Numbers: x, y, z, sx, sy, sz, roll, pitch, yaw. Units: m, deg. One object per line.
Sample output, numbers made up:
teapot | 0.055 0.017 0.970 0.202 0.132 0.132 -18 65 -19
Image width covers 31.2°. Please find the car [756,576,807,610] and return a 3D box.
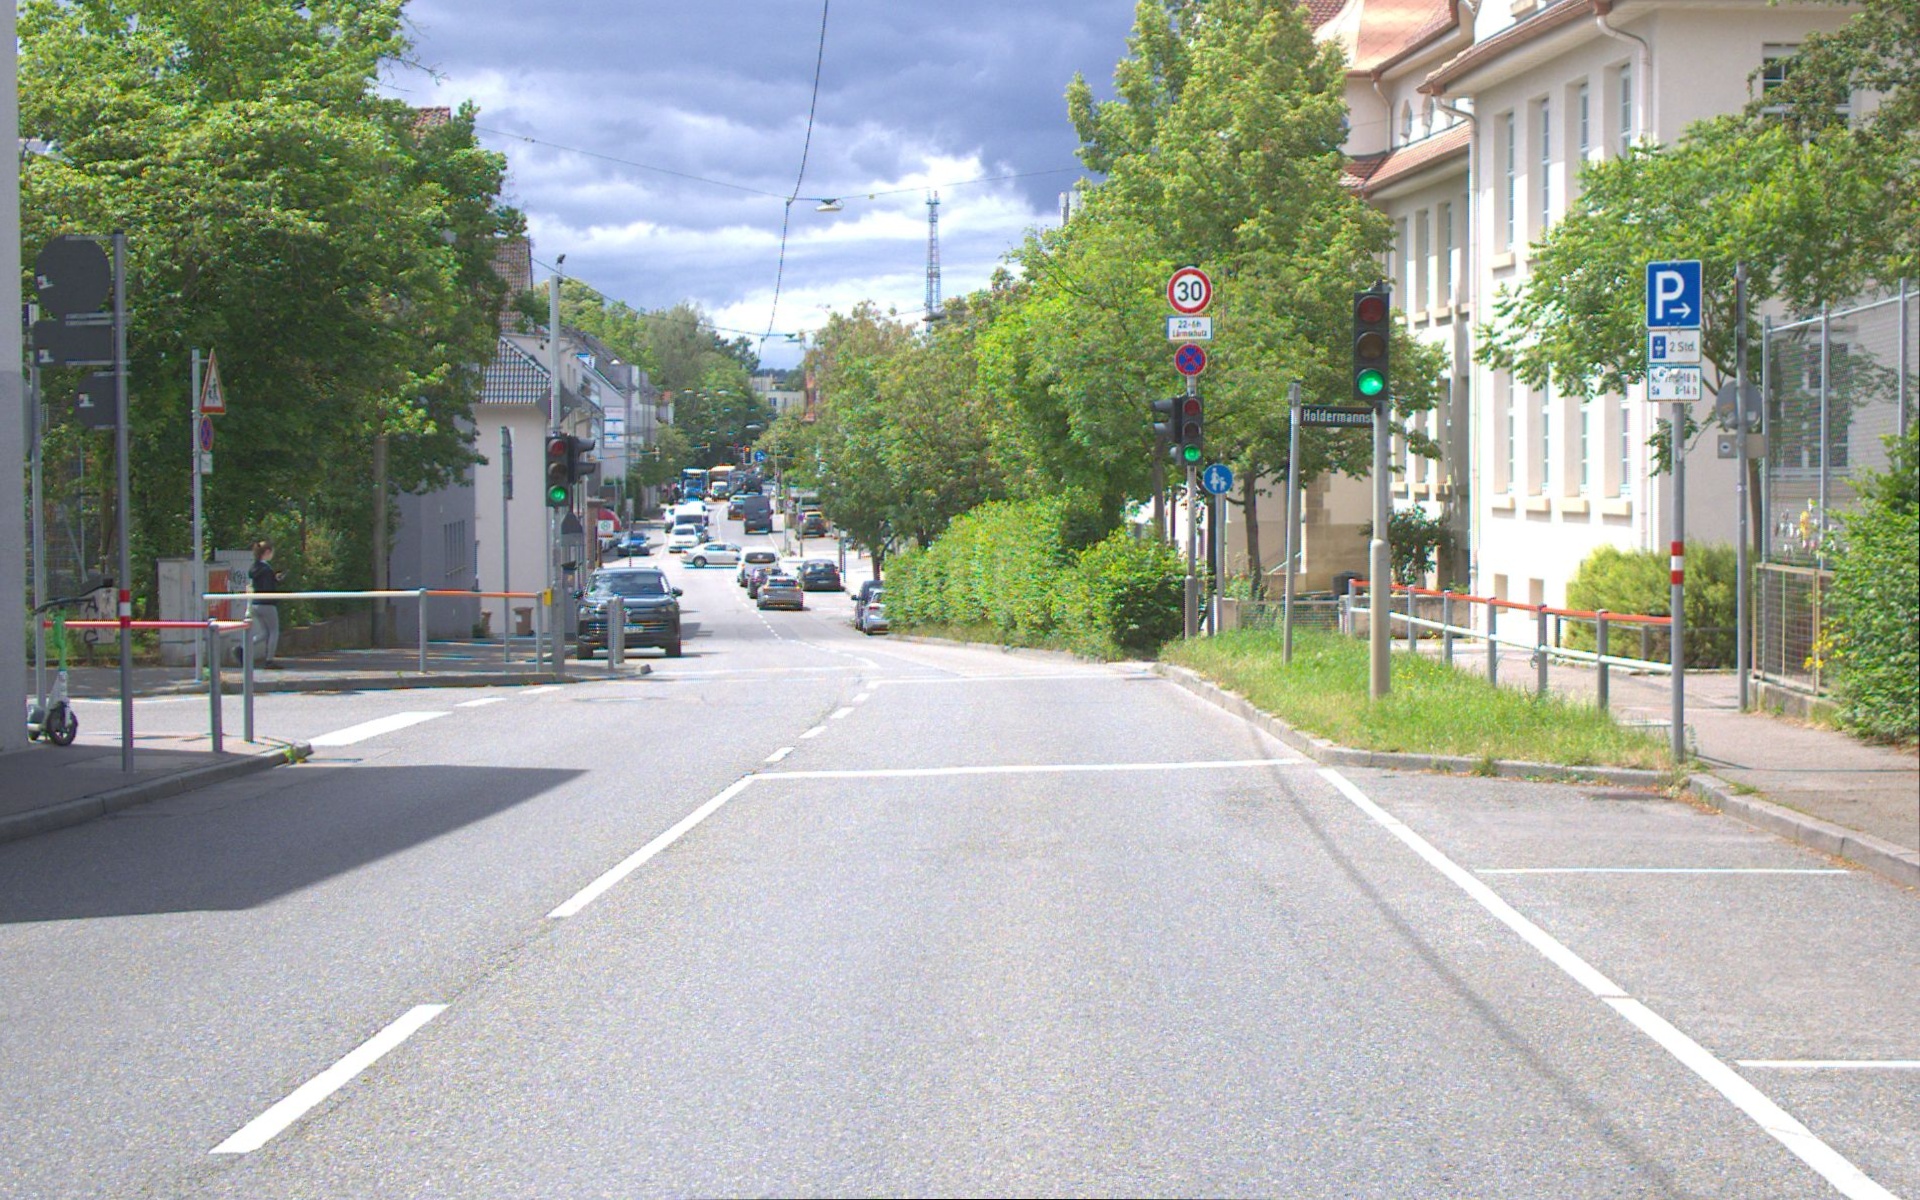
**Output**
car | -7.737 -0.327 149.028 1.743 1.412 4.001 -1 1 -10

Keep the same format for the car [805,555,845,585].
car | -6.502 -1.435 164.811 1.752 1.366 4.001 0 1 -5

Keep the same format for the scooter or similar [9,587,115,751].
scooter or similar | -7.126 0.532 27.251 0.489 1.257 1.307 -1 1 -29

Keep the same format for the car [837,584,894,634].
car | -3.441 0.314 124.217 1.844 1.761 4.515 0 0 -4

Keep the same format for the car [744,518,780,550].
car | -14.335 -4.754 248.746 2.436 2.310 5.327 0 1 -5

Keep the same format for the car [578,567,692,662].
car | -5.804 0.225 61.802 1.795 1.605 4.646 0 1 -2

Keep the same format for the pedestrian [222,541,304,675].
pedestrian | -8.388 0.095 41.360 0.770 1.592 0.672 0 1 -34

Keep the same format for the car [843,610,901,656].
car | -3.039 1.132 118.474 1.786 1.504 4.365 0 0 -4

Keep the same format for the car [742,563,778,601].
car | -9.235 -0.834 158.517 1.273 1.522 3.052 -1 4 -10

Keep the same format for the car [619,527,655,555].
car | -19.242 -3.515 204.989 1.873 1.634 4.000 1 0 -2

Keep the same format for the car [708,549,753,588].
car | -11.236 -1.537 168.209 1.836 1.855 3.851 0 1 -9

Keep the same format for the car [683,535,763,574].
car | -12.693 -2.438 184.211 3.986 2.007 2.001 1 0 -12
